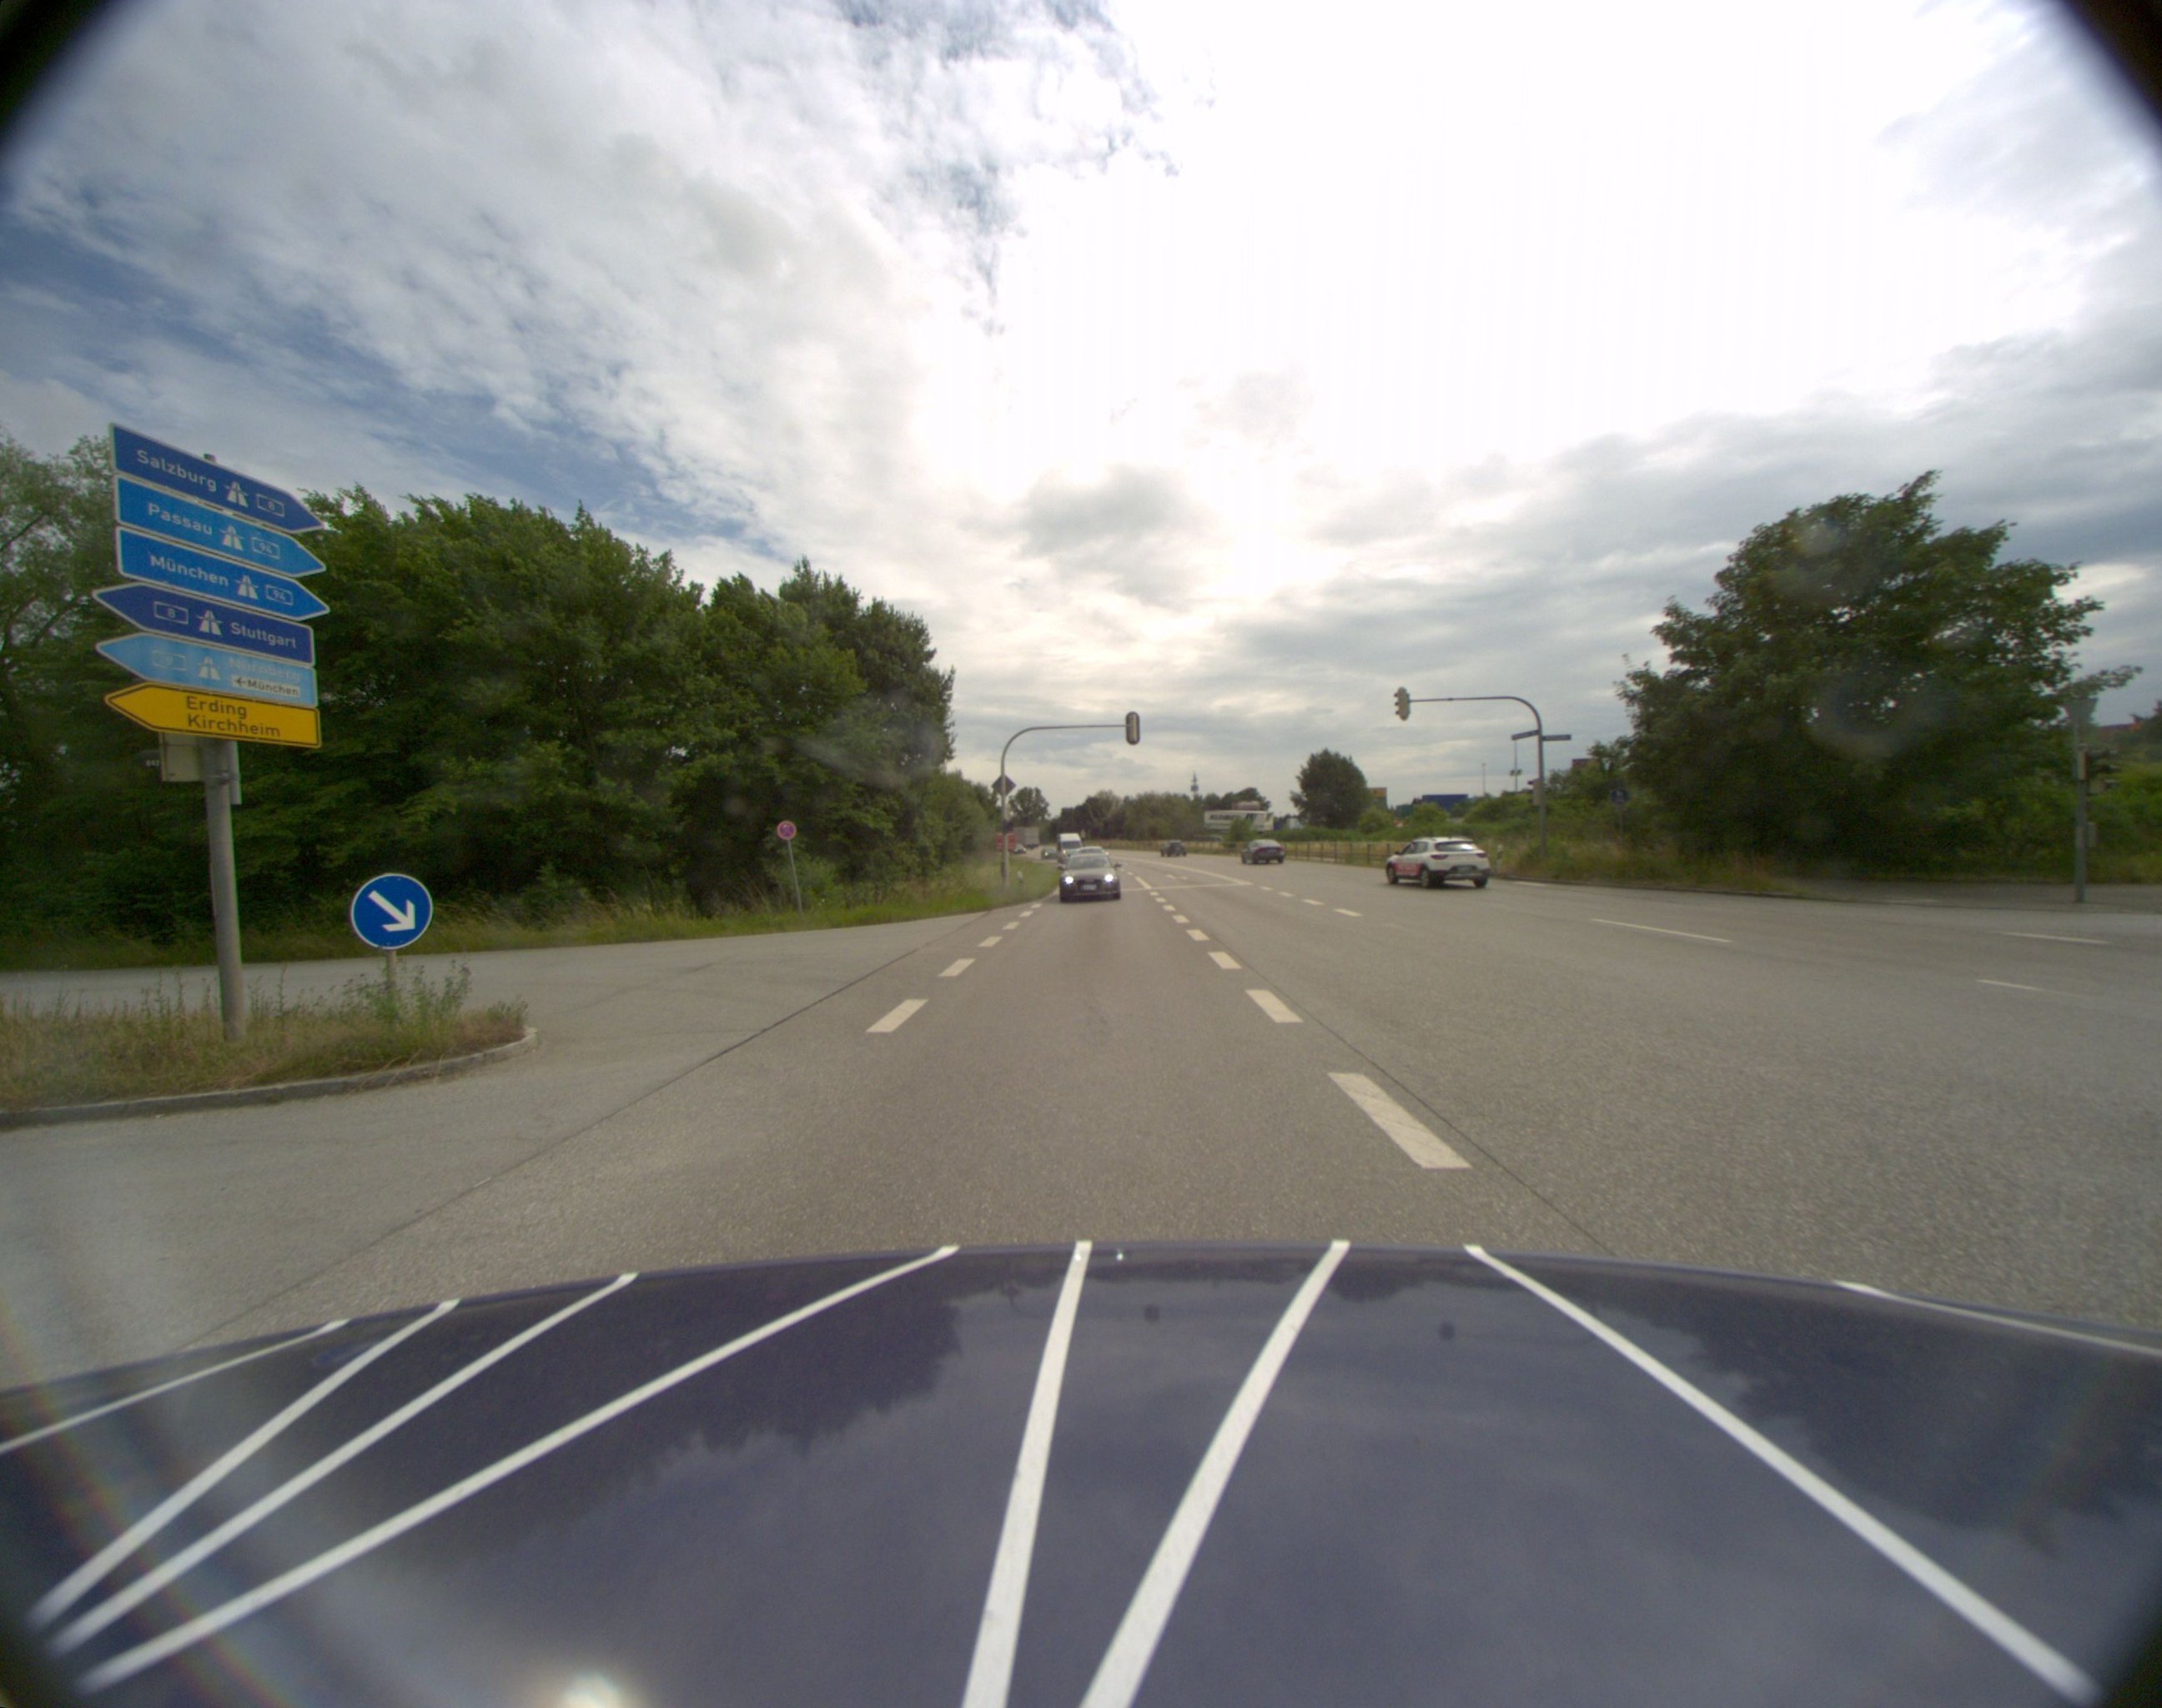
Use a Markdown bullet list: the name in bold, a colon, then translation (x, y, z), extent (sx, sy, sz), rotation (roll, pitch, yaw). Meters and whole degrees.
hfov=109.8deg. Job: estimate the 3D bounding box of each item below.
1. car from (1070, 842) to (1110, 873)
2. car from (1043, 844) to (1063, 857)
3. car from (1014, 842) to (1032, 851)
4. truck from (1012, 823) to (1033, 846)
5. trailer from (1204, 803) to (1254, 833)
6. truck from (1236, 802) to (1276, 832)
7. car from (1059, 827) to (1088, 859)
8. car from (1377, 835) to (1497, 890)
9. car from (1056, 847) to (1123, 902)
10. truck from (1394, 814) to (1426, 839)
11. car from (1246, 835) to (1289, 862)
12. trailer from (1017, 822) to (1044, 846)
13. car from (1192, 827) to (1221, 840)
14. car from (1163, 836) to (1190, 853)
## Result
- **car**: translation (0.506, 0.168, 47.126), extent (2.021, 1.604, 4.277), rotation (-3, 2, -4)
- **car**: translation (-3.197, -0.457, 86.127), extent (1.732, 1.357, 3.996), rotation (-2, 1, -10)
- **car**: translation (-8.694, -1.108, 113.687), extent (1.733, 1.357, 3.993), rotation (-2, 2, -19)
- **truck**: translation (-10.816, -3.614, 140.520), extent (2.551, 4.073, 3.991), rotation (-3, 2, -24)
- **trailer**: translation (26.731, -6.445, 137.740), extent (2.811, 4.969, 8.959), rotation (-6, 4, -39)
- **truck**: translation (30.539, -6.440, 132.976), extent (2.809, 4.969, 6.173), rotation (-6, 4, -39)
- **car**: translation (-0.740, -1.025, 70.355), extent (2.219, 2.655, 5.236), rotation (-5, 2, -3)
- **car**: translation (10.801, 0.195, 23.403), extent (1.733, 1.496, 4.346), rotation (-2, 1, 2)
- **car**: translation (0.318, 0.609, 25.019), extent (1.957, 1.527, 4.000), rotation (-3, 1, 1)
- **truck**: translation (58.744, -4.919, 135.609), extent (4.841, 4.269, 2.202), rotation (-1, 3, 35)
- **car**: translation (11.732, -0.393, 48.125), extent (1.792, 1.521, 4.903), rotation (-2, 1, 4)
- **trailer**: translation (-9.153, -3.582, 136.920), extent (2.538, 4.078, 6.720), rotation (-3, 2, -25)
- **car**: translation (20.884, -3.410, 126.306), extent (4.538, 1.865, 2.001), rotation (-2, 3, 12)
- **car**: translation (9.363, -0.981, 74.773), extent (1.797, 1.565, 3.997), rotation (-2, 1, -6)
